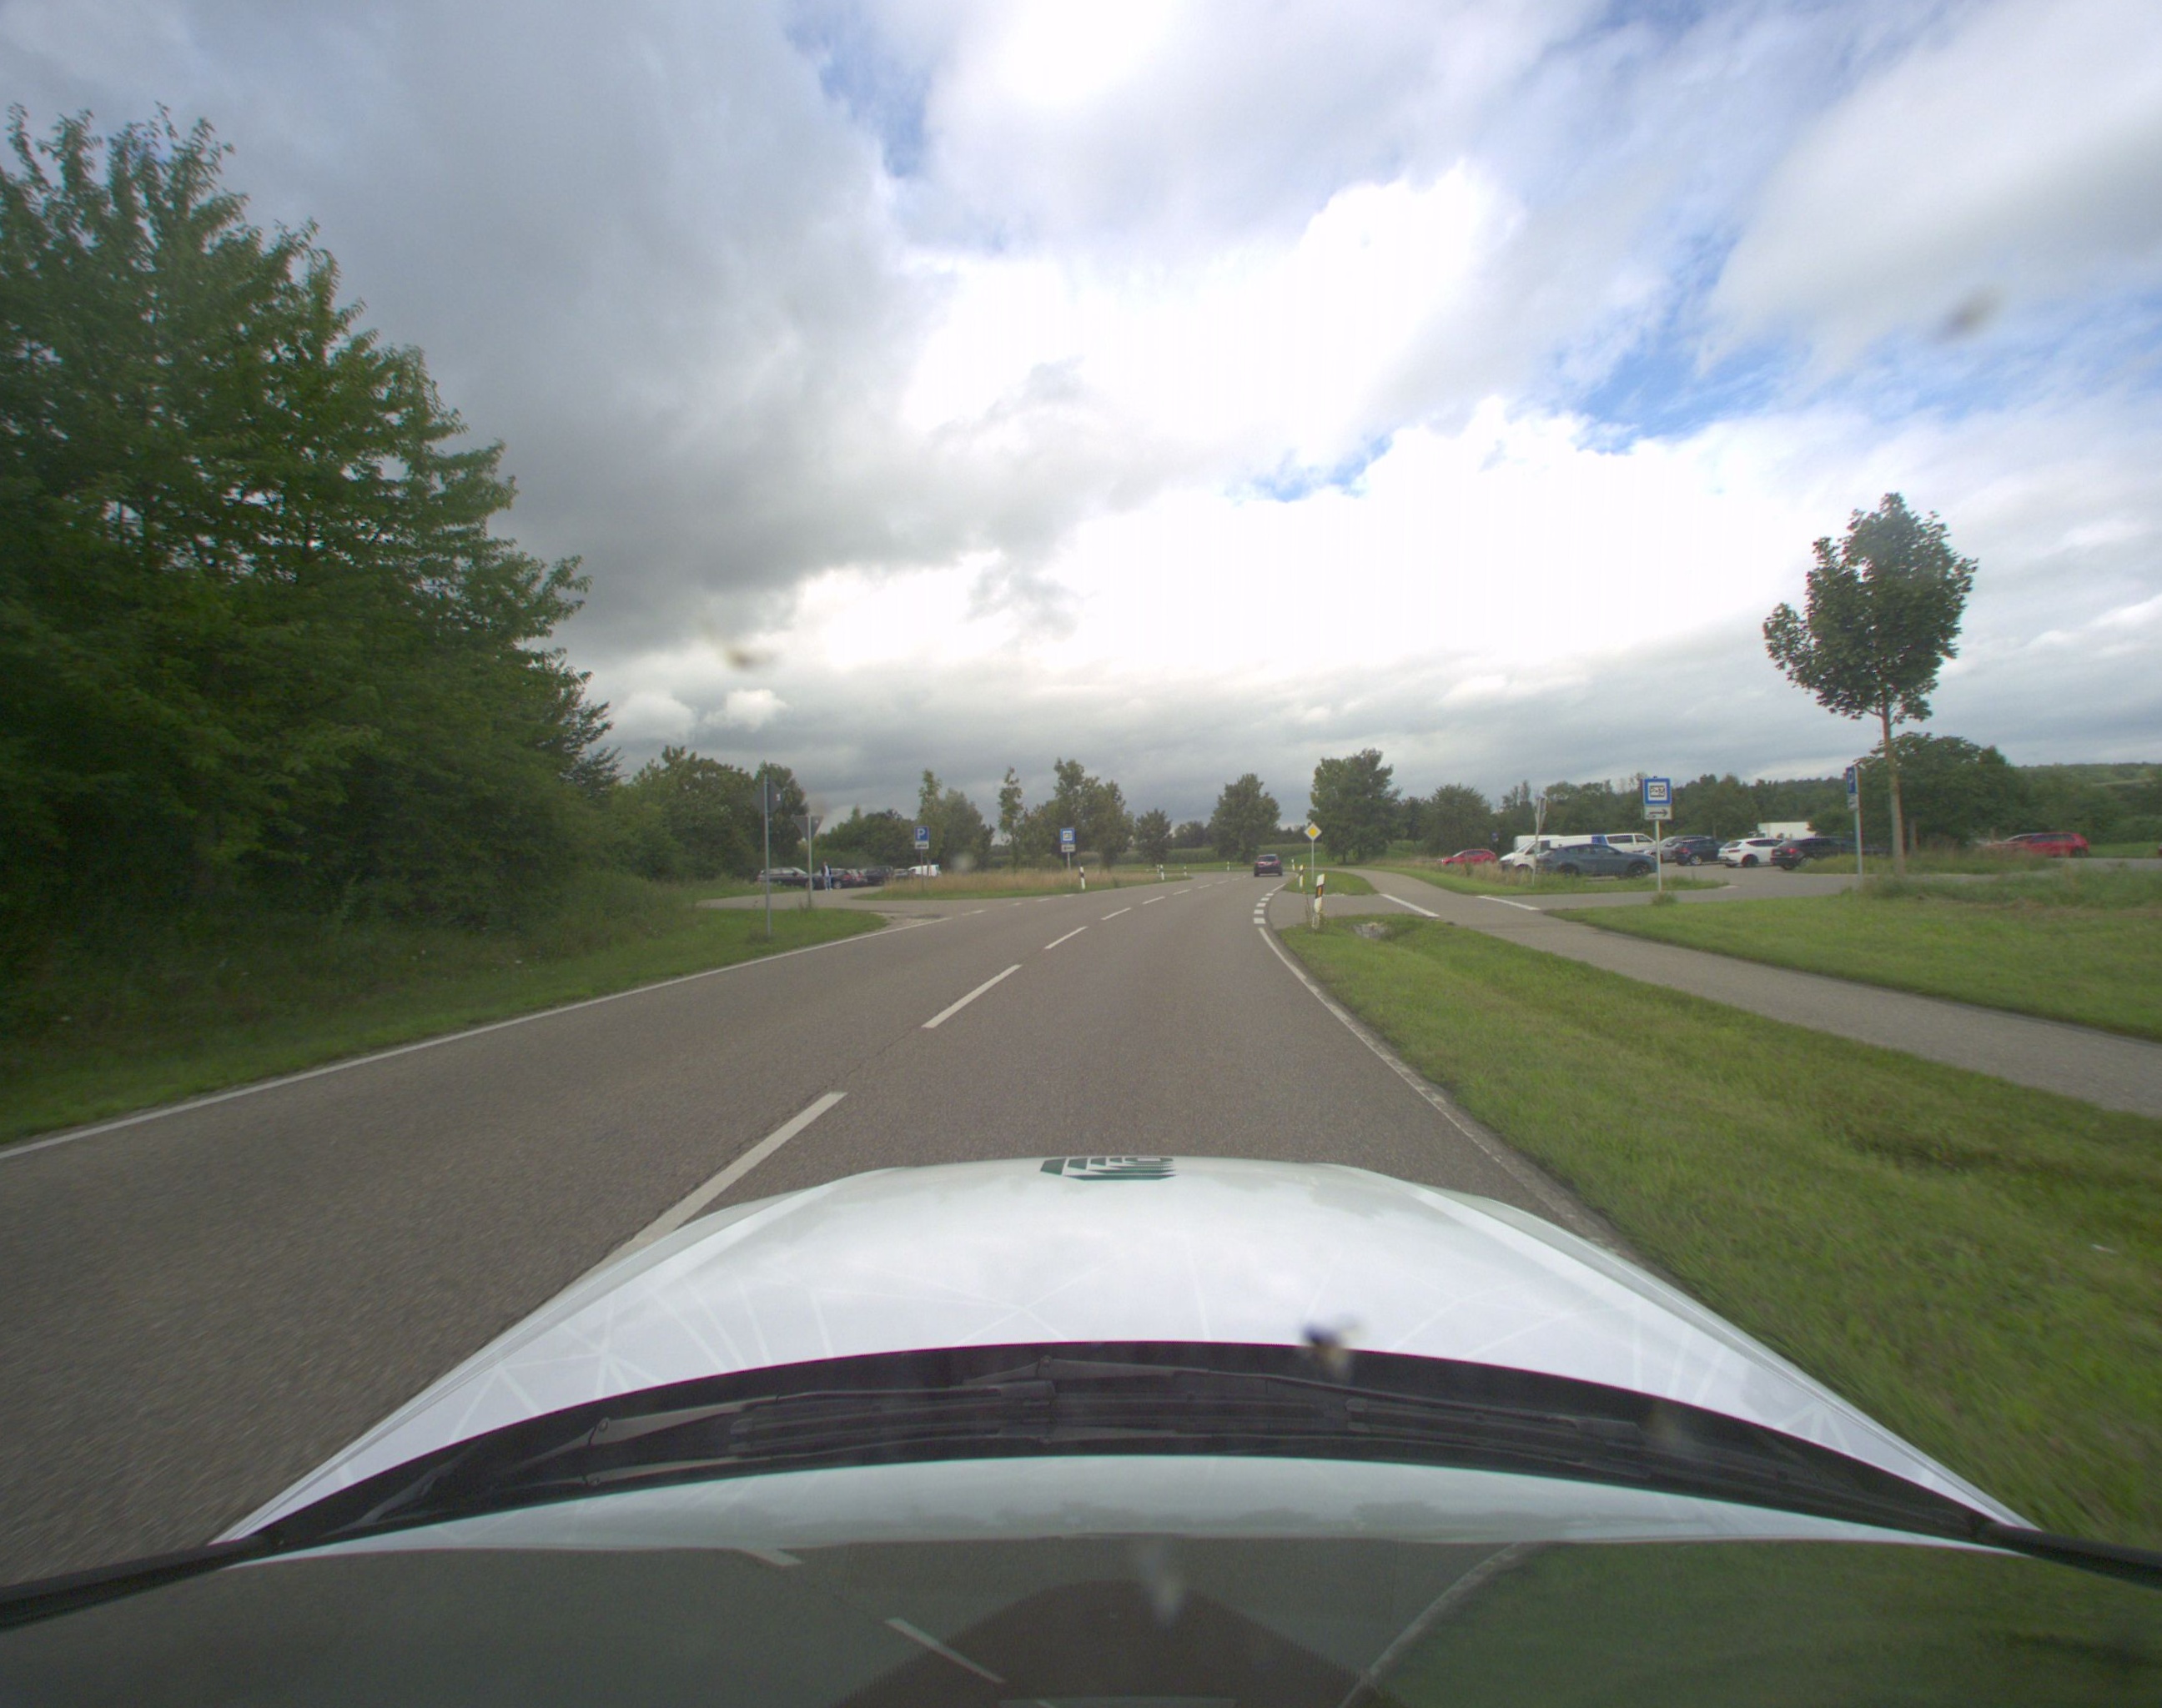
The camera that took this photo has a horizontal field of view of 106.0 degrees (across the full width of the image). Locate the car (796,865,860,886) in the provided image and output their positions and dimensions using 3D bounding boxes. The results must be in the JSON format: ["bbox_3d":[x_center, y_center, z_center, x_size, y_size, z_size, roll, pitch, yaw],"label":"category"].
[{"bbox_3d":[-18.329,1.557,59.171,3.970,1.380,1.826,-2,0,3],"label":"car"}]

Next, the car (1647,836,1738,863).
[{"bbox_3d":[34.116,-0.227,45.535,3.665,1.391,1.764,-2,0,9],"label":"car"}]

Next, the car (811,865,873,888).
[{"bbox_3d":[-18.323,1.716,62.528,4.221,1.566,1.760,-2,0,4],"label":"car"}]

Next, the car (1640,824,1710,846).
[{"bbox_3d":[46.510,-1.482,63.868,3.965,1.596,2.004,-2,0,7],"label":"car"}]

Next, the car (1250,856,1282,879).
[{"bbox_3d":[12.351,0.894,54.536,1.830,1.417,4.011,-2,0,10],"label":"car"}]

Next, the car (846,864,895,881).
[{"bbox_3d":[-18.413,1.631,71.351,3.984,1.380,1.472,-2,0,-8],"label":"car"}]

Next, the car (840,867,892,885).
[{"bbox_3d":[-17.929,1.809,68.071,3.985,1.380,1.472,-2,0,-9],"label":"car"}]

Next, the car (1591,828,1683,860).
[{"bbox_3d":[40.660,-0.737,59.706,4.990,2.000,2.240,-3,-1,13],"label":"car"}]

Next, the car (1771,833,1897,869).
[{"bbox_3d":[32.906,-0.121,35.683,3.660,1.391,1.736,-2,0,14],"label":"car"}]

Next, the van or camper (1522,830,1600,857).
[{"bbox_3d":[49.867,-1.047,84.770,6.688,2.562,2.058,-2,-1,18],"label":"van or camper"}]

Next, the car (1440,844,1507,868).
[{"bbox_3d":[30.285,0.162,63.026,4.298,1.575,1.978,-3,-1,13],"label":"car"}]

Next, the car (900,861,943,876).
[{"bbox_3d":[-16.171,1.434,82.721,3.977,1.380,1.474,-2,0,-3],"label":"car"}]

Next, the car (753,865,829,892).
[{"bbox_3d":[-18.833,1.596,52.966,4.226,1.566,1.758,-2,0,0],"label":"car"}]

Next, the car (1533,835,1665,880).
[{"bbox_3d":[21.526,0.153,34.050,4.241,1.566,1.845,-3,-1,14],"label":"car"}]

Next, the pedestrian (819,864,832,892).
[{"bbox_3d":[-15.269,1.438,48.663,0.512,1.667,0.662,-2,-1,6],"label":"pedestrian"}]

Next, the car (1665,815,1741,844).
[{"bbox_3d":[38.314,-1.476,50.218,3.651,1.607,1.771,-2,-1,38],"label":"car"}]

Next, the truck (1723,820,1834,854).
[{"bbox_3d":[61.549,-1.501,72.046,6.827,2.715,2.844,-2,0,16],"label":"truck"}]

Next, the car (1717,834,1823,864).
[{"bbox_3d":[34.228,-0.240,40.549,3.665,1.391,1.764,-2,0,9],"label":"car"}]

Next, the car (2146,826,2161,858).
[{"bbox_3d":[50.705,-0.603,36.033,3.955,1.438,1.929,-2,0,18],"label":"car"}]

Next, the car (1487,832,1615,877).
[{"bbox_3d":[22.344,0.042,38.942,4.910,1.974,1.962,-2,0,14],"label":"car"}]
